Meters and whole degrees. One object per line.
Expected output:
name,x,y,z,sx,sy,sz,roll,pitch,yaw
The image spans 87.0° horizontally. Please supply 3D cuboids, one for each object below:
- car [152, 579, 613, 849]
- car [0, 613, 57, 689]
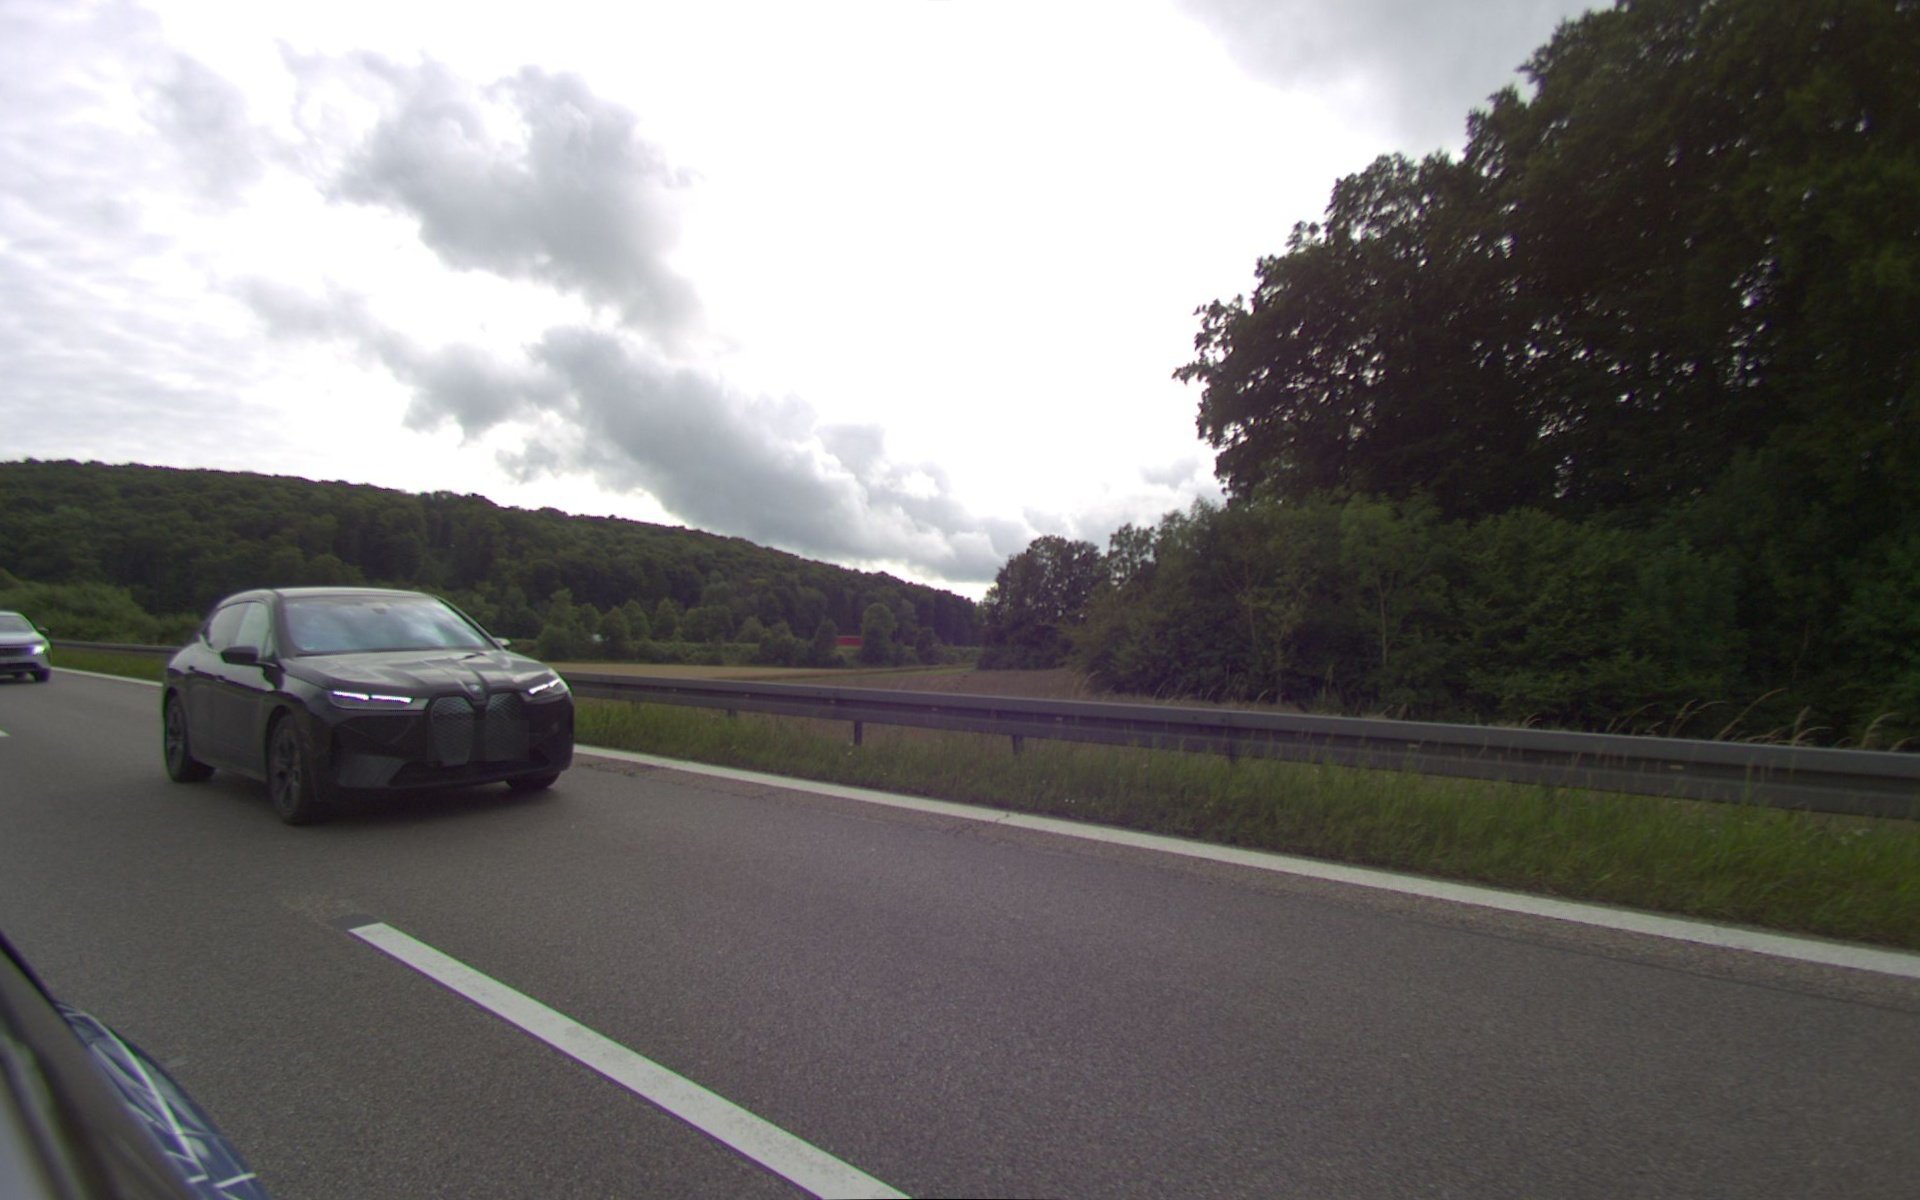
car,-4.989,0.759,8.488,4.411,1.678,1.973,-1,-1,40
car,-22.891,1.193,23.763,4.412,1.678,1.973,-2,-1,41
